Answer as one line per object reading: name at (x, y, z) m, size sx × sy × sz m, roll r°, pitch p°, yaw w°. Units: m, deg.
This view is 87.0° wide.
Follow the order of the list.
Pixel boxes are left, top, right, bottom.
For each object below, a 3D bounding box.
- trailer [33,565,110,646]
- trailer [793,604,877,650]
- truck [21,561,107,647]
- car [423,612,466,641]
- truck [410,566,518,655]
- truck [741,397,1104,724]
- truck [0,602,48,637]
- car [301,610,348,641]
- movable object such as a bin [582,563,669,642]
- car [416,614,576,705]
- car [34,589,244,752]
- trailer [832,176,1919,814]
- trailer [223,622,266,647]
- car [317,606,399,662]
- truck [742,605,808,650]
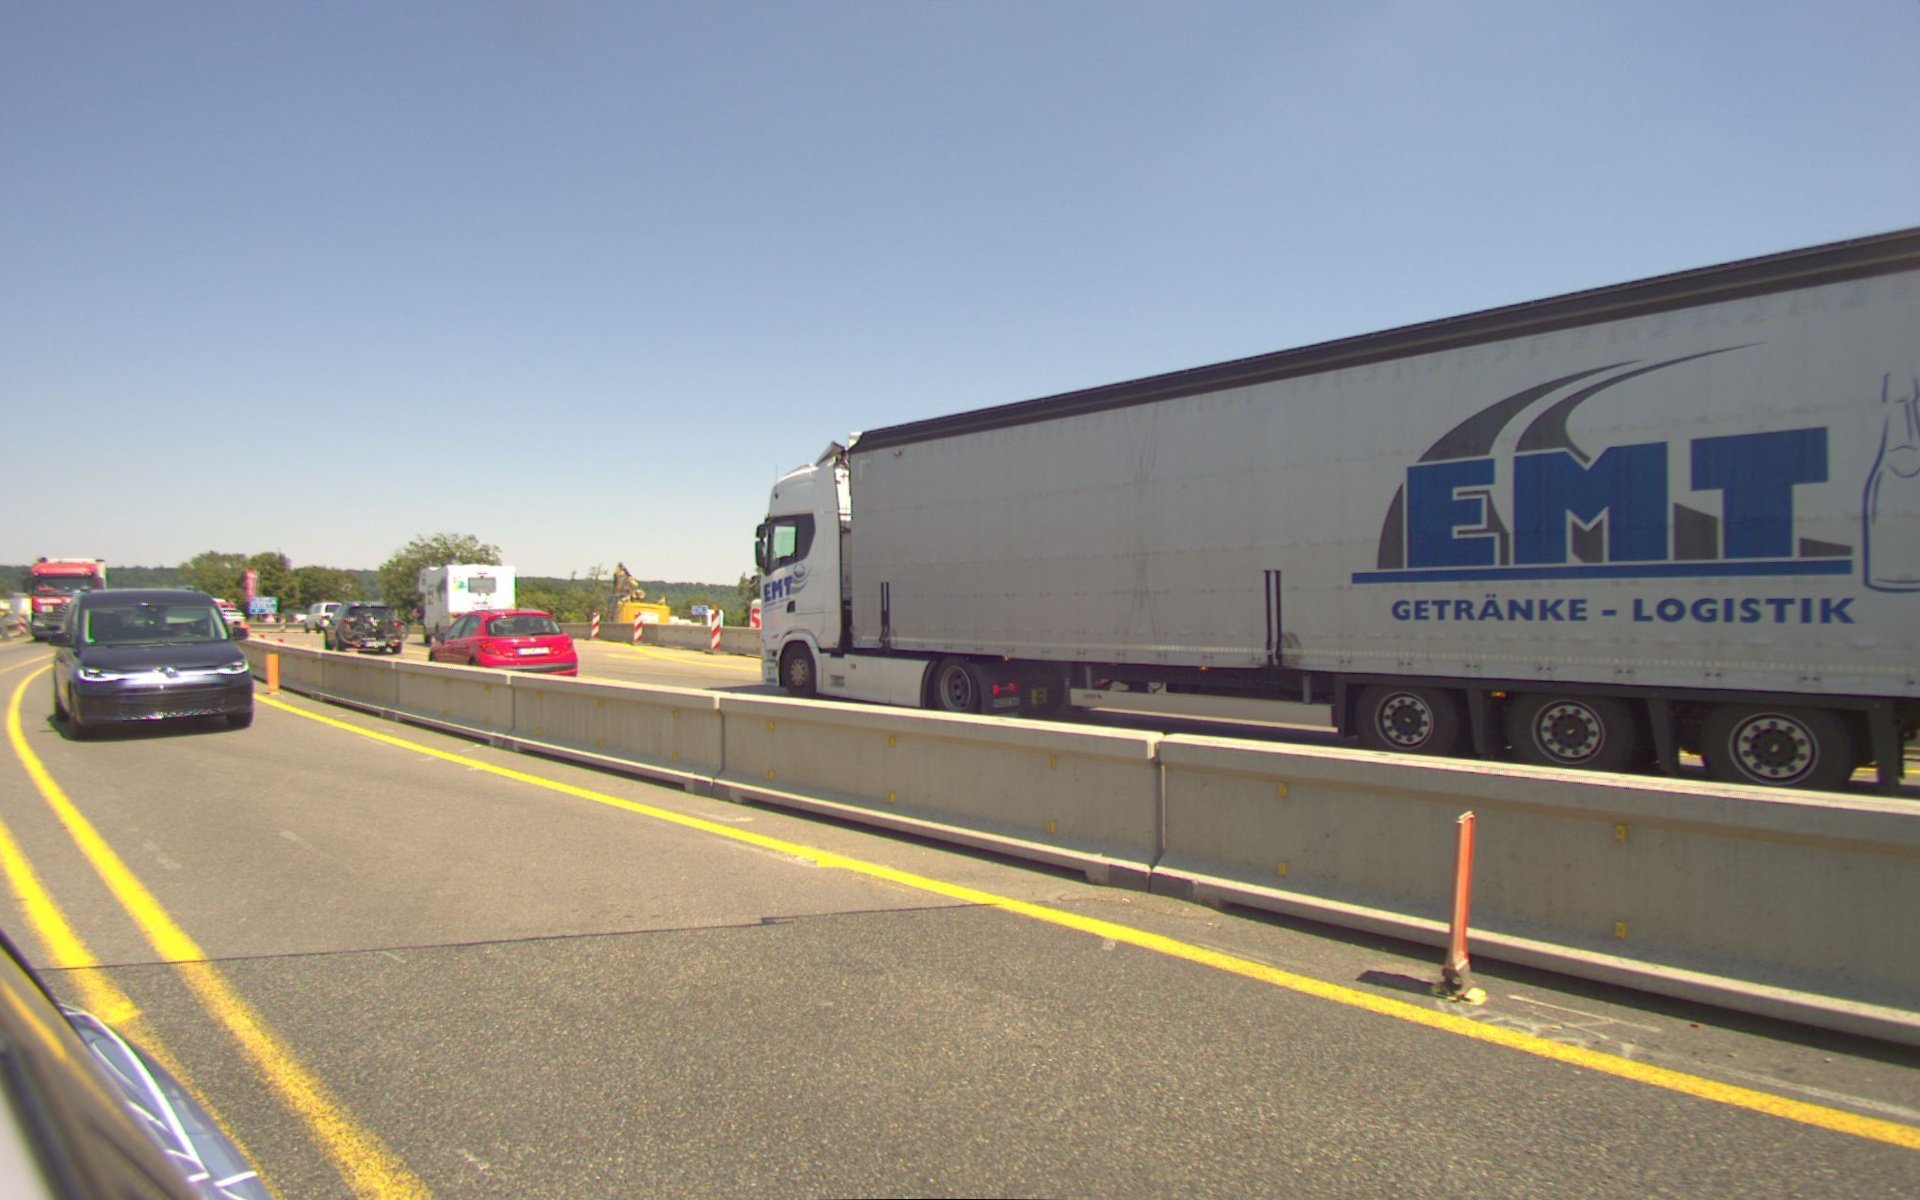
trailer at (-47.637, 0.395, 54.495) m, size 2.660 × 3.904 × 12.444 m, roll 1°, pitch -2°, yaw -39°
trailer at (-8.530, 1.837, 69.556) m, size 2.876 × 3.020 × 5.516 m, roll -1°, pitch -2°, yaw 34°
truck at (-43.574, 0.257, 49.340) m, size 2.585 × 3.933 × 4.945 m, roll 1°, pitch -2°, yaw -36°
car at (-30.401, 1.567, 59.639) m, size 1.697 × 1.640 × 4.347 m, roll 1°, pitch -2°, yaw -34°
truck at (-19.219, 0.471, 38.961) m, size 2.409 × 3.095 × 7.264 m, roll 1°, pitch -2°, yaw -37°
truck at (-0.782, -0.424, 15.598) m, size 2.669 × 4.093 × 5.506 m, roll 1°, pitch -2°, yaw -43°
truck at (-95.262, 2.012, 102.227) m, size 6.898 × 3.407 × 2.562 m, roll -1°, pitch -2°, yaw 29°
car at (-42.185, 1.703, 67.173) m, size 1.843 × 1.968 × 4.898 m, roll 1°, pitch -2°, yaw -42°
movable object such as a bin at (-19.987, 0.259, 60.107) m, size 2.883 × 4.362 × 9.353 m, roll 1°, pitch -2°, yaw -31°
car at (-8.586, 1.024, 18.572) m, size 1.647 × 1.487 × 3.976 m, roll 1°, pitch -2°, yaw -40°
car at (-10.991, 0.803, 13.529) m, size 1.897 × 1.803 × 4.610 m, roll 0°, pitch -1°, yaw -41°
trailer at (4.009, -0.577, 10.742) m, size 2.728 × 4.146 × 13.985 m, roll 1°, pitch -2°, yaw -45°
trailer at (-58.504, 2.793, 82.757) m, size 4.433 × 2.037 × 1.846 m, roll -1°, pitch -2°, yaw 41°
car at (-18.899, 1.056, 31.691) m, size 1.639 × 1.617 × 4.405 m, roll 1°, pitch -2°, yaw -38°
truck at (-13.157, 1.958, 71.824) m, size 4.255 × 3.066 × 2.321 m, roll -1°, pitch -2°, yaw 35°
